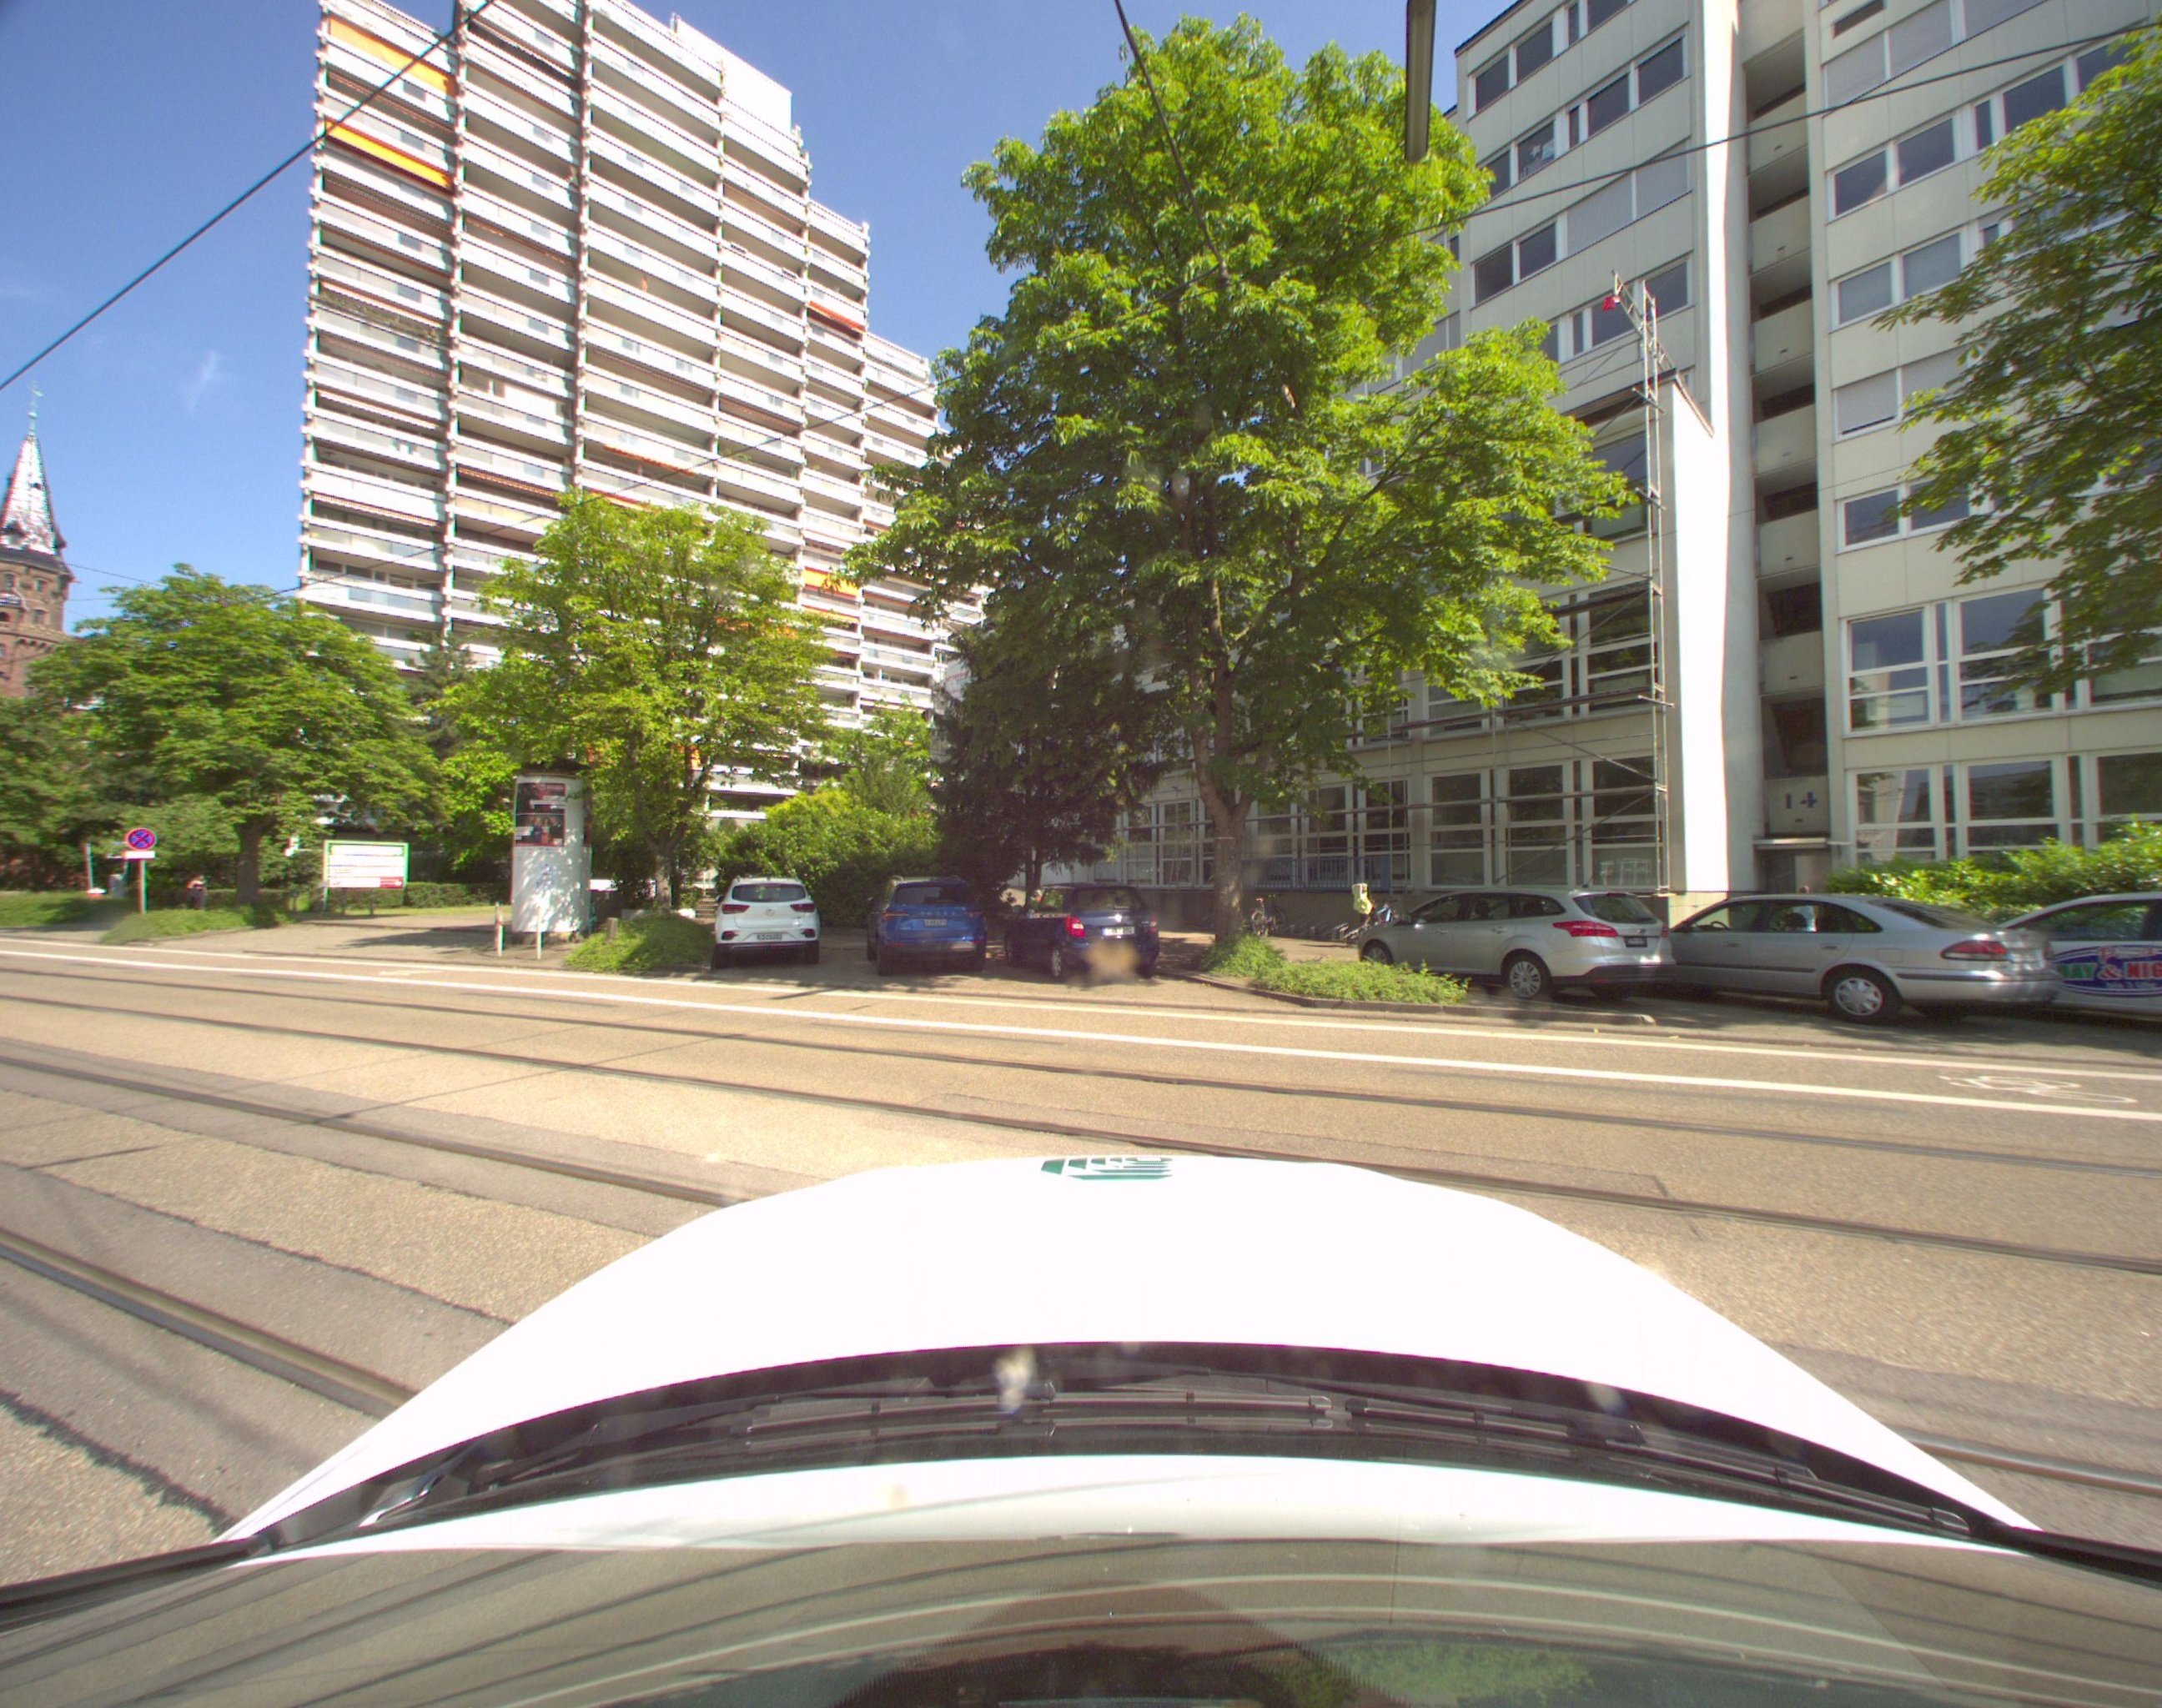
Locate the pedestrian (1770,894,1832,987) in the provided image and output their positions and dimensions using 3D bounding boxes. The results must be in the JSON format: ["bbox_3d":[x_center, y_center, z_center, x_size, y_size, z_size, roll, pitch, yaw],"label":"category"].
[{"bbox_3d":[11.612,1.380,13.157,0.614,1.461,0.426,-1,-3,25],"label":"pedestrian"}]

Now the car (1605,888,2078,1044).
[{"bbox_3d":[8.856,1.169,9.978,1.613,1.486,3.917,1,-3,-20],"label":"car"}]

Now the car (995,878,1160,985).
[{"bbox_3d":[-0.184,1.194,13.562,1.578,1.531,3.432,1,-3,-22],"label":"car"}]

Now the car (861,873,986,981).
[{"bbox_3d":[-2.971,1.181,14.742,1.780,1.622,3.921,0,-1,-18],"label":"car"}]

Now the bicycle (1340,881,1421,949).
[{"bbox_3d":[6.754,1.350,18.325,2.099,1.454,0.656,2,-3,-37],"label":"bicycle"}]

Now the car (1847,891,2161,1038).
[{"bbox_3d":[11.519,1.173,9.134,1.614,1.486,3.916,1,-4,-21],"label":"car"}]

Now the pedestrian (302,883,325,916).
[{"bbox_3d":[-27.239,1.598,28.901,0.692,1.154,0.537,-2,-4,45],"label":"pedestrian"}]

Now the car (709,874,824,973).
[{"bbox_3d":[-6.185,1.240,15.789,1.822,1.606,3.913,-1,-2,-24],"label":"car"}]

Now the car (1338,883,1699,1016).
[{"bbox_3d":[5.844,1.180,11.591,1.786,1.486,4.401,1,-3,-22],"label":"car"}]

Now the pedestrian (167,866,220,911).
[{"bbox_3d":[-36.542,1.414,33.528,1.249,1.798,1.066,-1,-4,26],"label":"pedestrian"}]

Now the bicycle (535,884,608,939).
[{"bbox_3d":[-12.589,1.401,20.120,1.603,1.309,0.549,0,-3,17],"label":"bicycle"}]

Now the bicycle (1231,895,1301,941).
[{"bbox_3d":[4.618,1.555,20.213,0.734,1.086,2.216,-2,-3,41],"label":"bicycle"}]
